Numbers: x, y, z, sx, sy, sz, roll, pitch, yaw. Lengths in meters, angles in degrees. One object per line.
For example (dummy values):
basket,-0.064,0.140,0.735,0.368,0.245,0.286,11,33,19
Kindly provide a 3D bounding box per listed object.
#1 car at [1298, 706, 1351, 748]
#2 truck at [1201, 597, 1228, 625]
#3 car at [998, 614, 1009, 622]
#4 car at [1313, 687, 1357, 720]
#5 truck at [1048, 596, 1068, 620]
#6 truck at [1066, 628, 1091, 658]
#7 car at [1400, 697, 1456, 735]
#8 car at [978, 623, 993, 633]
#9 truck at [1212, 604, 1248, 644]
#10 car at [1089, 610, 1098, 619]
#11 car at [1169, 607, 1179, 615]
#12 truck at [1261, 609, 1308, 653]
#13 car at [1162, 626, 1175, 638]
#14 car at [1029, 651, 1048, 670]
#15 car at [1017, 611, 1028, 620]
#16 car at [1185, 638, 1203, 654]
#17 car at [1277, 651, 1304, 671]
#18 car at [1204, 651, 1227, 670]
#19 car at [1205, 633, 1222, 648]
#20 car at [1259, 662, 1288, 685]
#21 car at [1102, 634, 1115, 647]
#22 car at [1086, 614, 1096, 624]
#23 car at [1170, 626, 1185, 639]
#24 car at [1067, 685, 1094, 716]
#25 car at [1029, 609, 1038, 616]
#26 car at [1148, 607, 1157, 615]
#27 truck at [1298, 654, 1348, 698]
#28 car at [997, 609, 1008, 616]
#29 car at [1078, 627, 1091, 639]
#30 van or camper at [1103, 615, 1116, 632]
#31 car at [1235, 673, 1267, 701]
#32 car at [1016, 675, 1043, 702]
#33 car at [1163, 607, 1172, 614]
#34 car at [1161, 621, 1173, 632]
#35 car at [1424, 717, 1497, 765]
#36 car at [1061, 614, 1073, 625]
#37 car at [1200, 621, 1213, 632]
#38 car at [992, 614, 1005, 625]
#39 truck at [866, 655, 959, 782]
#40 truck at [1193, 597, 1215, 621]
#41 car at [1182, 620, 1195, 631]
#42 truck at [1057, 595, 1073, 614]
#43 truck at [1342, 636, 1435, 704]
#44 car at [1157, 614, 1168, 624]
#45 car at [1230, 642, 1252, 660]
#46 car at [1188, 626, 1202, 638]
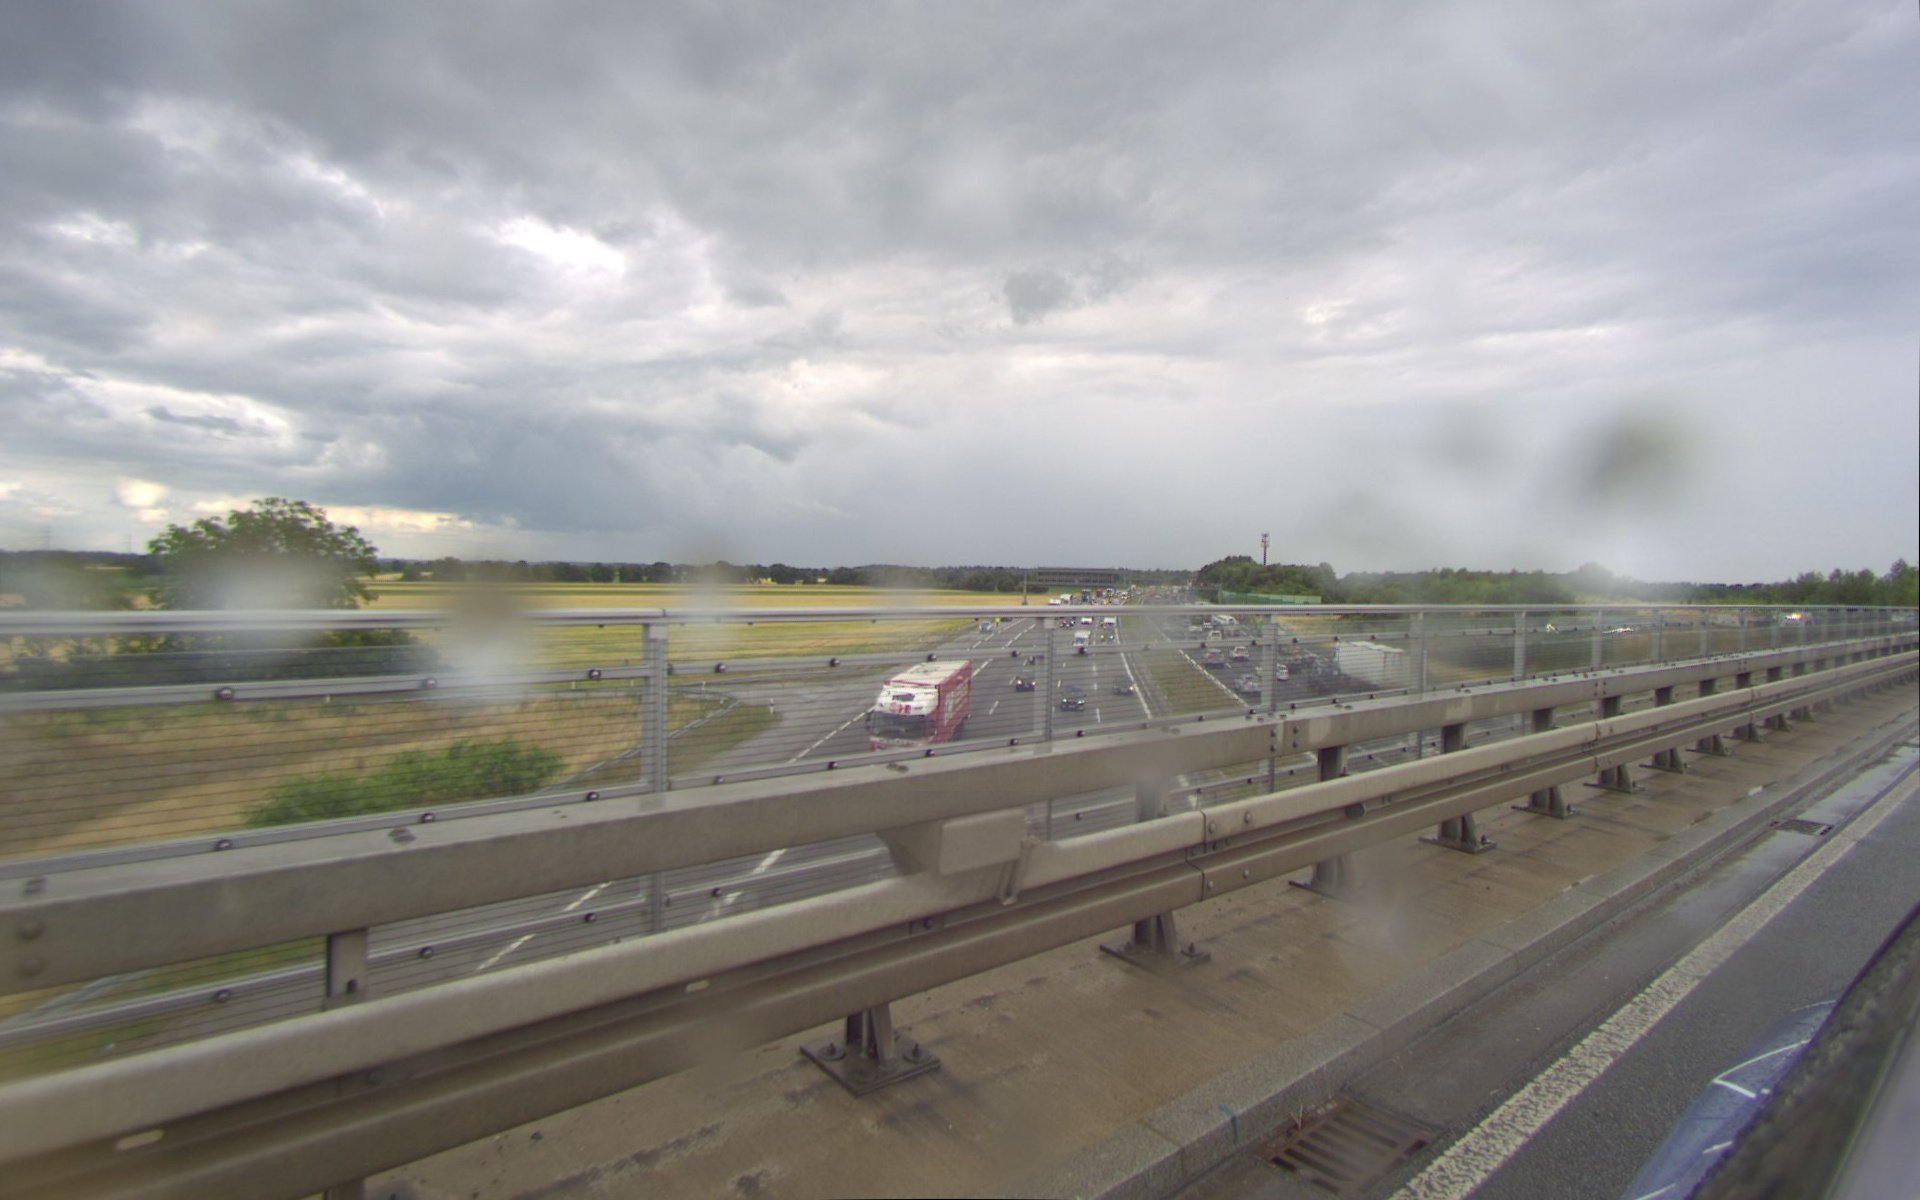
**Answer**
car,19.869,6.887,55.324,1.826,1.690,4.713,0,0,9
truck,51.426,2.123,204.888,3.434,5.420,15.595,0,0,8
car,8.302,3.470,191.935,1.784,1.454,4.715,0,0,7
car,25.273,6.943,68.295,1.826,1.690,4.713,0,0,9
truck,20.808,1.688,214.818,2.751,4.962,12.711,0,0,12
truck,14.051,5.029,119.669,2.553,3.219,8.375,0,0,9
car,28.479,7.042,61.735,1.826,1.690,4.713,0,0,9
car,3.922,4.261,155.795,1.784,1.454,4.715,0,0,7
truck,40.683,3.482,153.022,3.241,5.511,15.595,0,0,8
car,28.713,3.113,217.856,1.826,1.690,4.713,0,0,9
car,46.927,2.439,221.861,1.826,1.797,4.713,0,0,9
truck,42.959,3.905,134.495,3.241,5.230,15.595,0,0,8
car,32.729,5.019,158.917,1.826,1.797,4.713,0,0,9
car,8.232,6.279,105.883,1.784,1.690,4.713,0,0,8
car,12.833,3.234,207.978,1.826,1.690,4.713,0,0,9
car,29.452,5.767,127.709,1.826,1.690,4.713,0,0,9
car,33.651,6.209,103.075,1.826,1.690,4.713,0,0,9
car,26.382,6.216,104.704,1.826,1.690,4.713,0,0,9
car,34.398,5.477,137.428,1.826,1.797,4.713,0,0,9
car,28.924,6.759,93.553,1.826,1.690,4.713,0,0,9
car,21.122,5.744,143.788,1.826,1.690,4.713,0,0,9
car,25.411,3.687,196.616,1.826,1.690,4.713,0,0,9
car,31.770,4.796,148.196,1.826,1.690,4.713,0,0,9
car,8.469,7.024,71.107,1.784,1.690,4.713,0,0,8
car,16.379,2.715,225.948,1.784,1.454,4.715,0,0,7
car,46.003,2.660,241.679,1.826,1.797,4.713,0,0,9
truck,31.137,6.468,87.122,2.175,3.003,9.286,0,0,8
car,8.657,2.557,205.322,1.784,1.454,4.715,0,0,7
car,18.491,4.865,150.015,1.784,1.690,4.713,0,0,8
van or camper,24.518,3.822,165.664,2.026,2.481,7.312,0,0,8
car,22.931,6.826,79.817,1.826,1.690,4.713,0,0,9
car,5.476,6.906,79.373,1.784,1.690,4.713,0,0,8
car,51.674,2.613,252.371,1.826,1.797,4.713,0,0,9
car,36.580,4.662,179.089,1.826,1.797,4.713,0,0,9
car,24.652,6.912,50.029,1.826,1.690,4.713,0,0,9
car,18.020,3.283,169.666,1.826,1.690,4.713,0,0,9
car,43.426,4.606,178.474,1.826,1.797,4.713,0,0,9
car,6.518,3.311,170.958,1.826,1.690,4.713,0,0,9
truck,-2.002,5.222,47.198,2.641,4.684,9.731,0,0,8
truck,55.542,1.961,230.613,3.434,5.420,15.595,0,0,8
car,41.482,4.550,183.669,1.826,1.797,4.713,0,0,9
truck,26.648,1.169,256.585,2.751,4.676,12.711,0,0,12
truck,35.946,5.653,85.739,3.545,4.594,15.588,0,0,9
car,38.732,3.630,193.482,1.826,1.797,4.713,0,0,9
car,31.890,5.779,114.989,1.826,1.690,4.713,0,0,9
car,38.148,5.188,164.484,1.826,1.797,4.713,0,0,9
